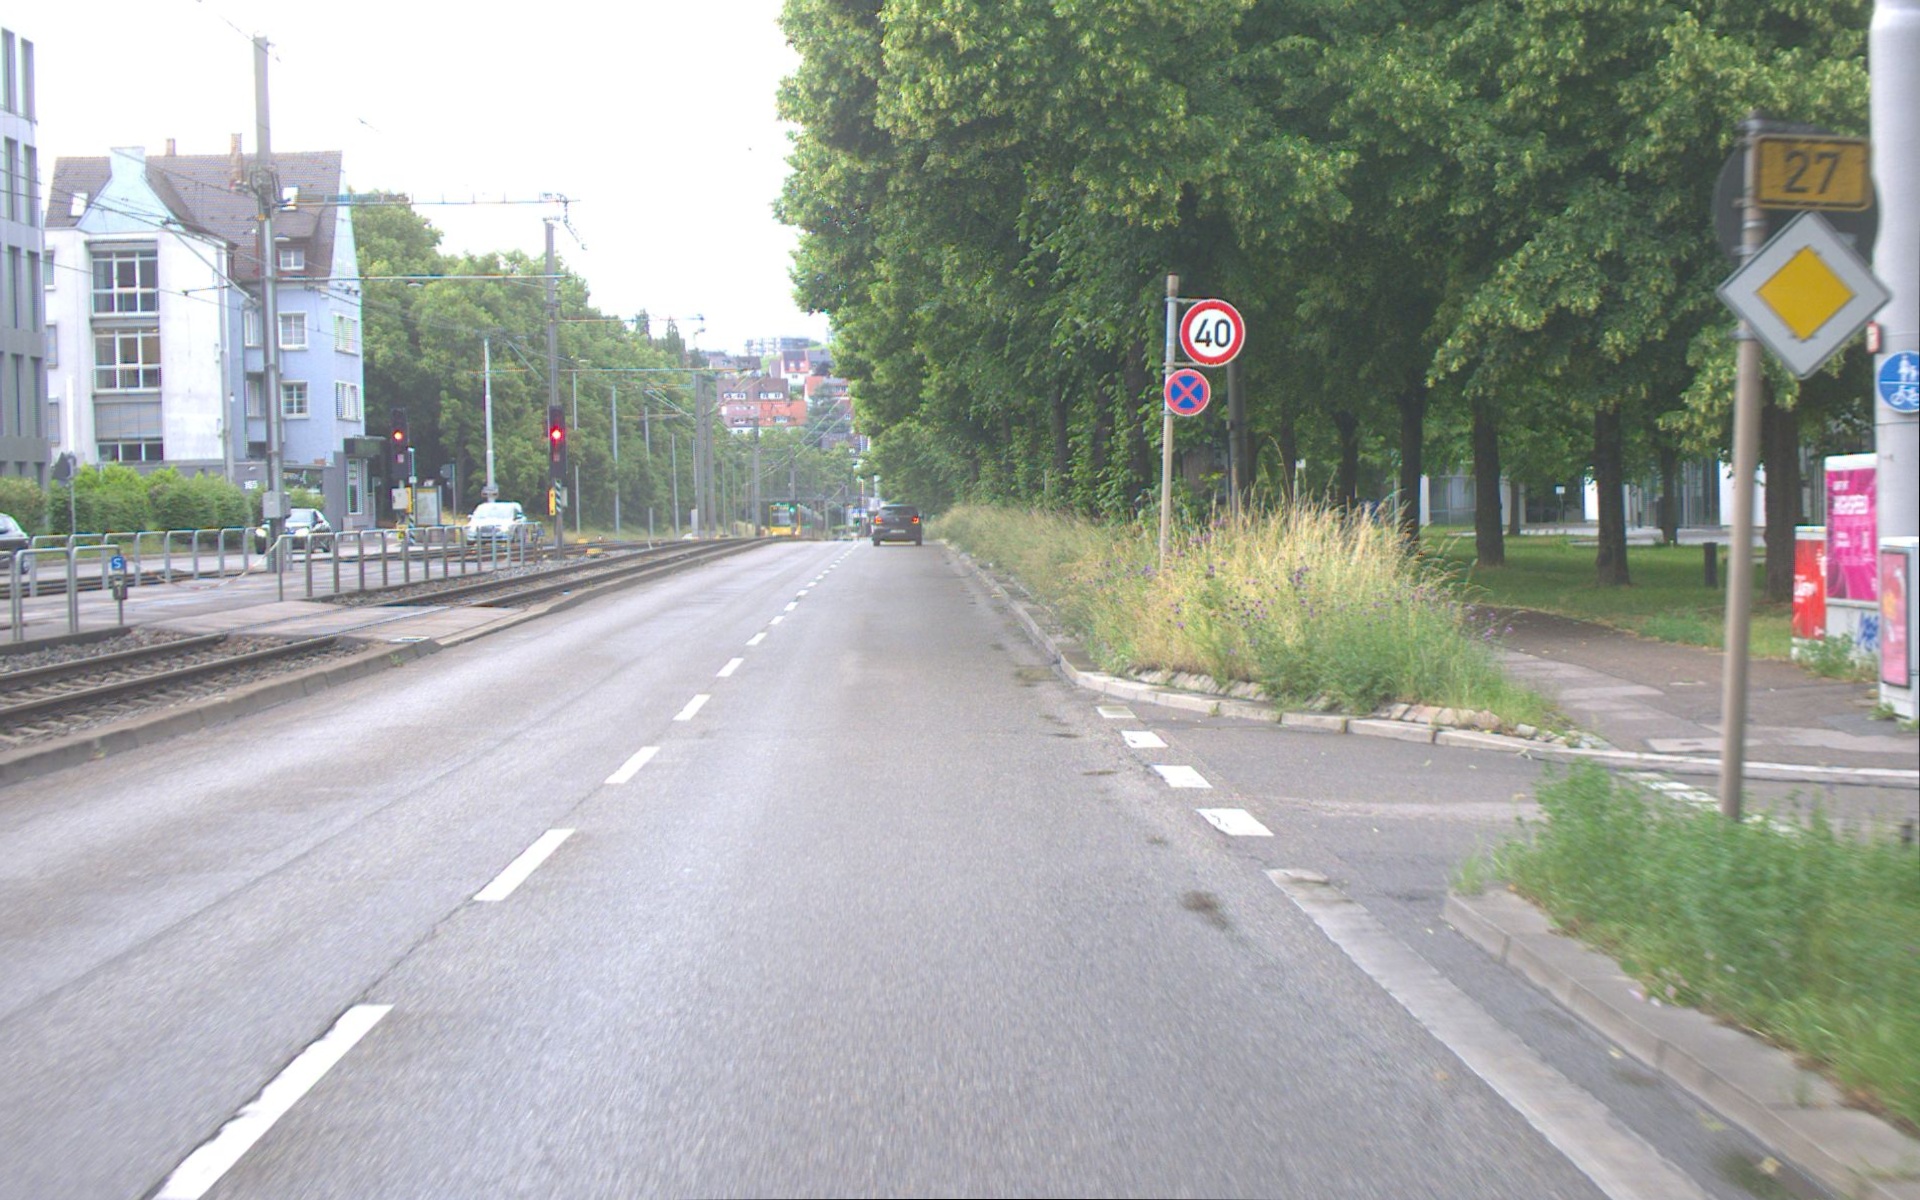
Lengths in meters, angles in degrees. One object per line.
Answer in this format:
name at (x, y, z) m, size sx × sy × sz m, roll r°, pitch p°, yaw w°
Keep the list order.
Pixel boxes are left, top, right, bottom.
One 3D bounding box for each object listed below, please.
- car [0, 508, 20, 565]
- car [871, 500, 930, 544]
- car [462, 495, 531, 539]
car at (-21.940, -1.373, 75.038) m, size 1.756 × 1.239 × 3.988 m, roll -1°, pitch 2°, yaw -1°
car at (-2.031, -2.691, 118.022) m, size 1.982 × 1.435 × 4.474 m, roll -1°, pitch 2°, yaw -1°
car at (-17.681, -3.191, 131.406) m, size 1.902 × 1.639 × 4.884 m, roll -1°, pitch 2°, yaw 1°
